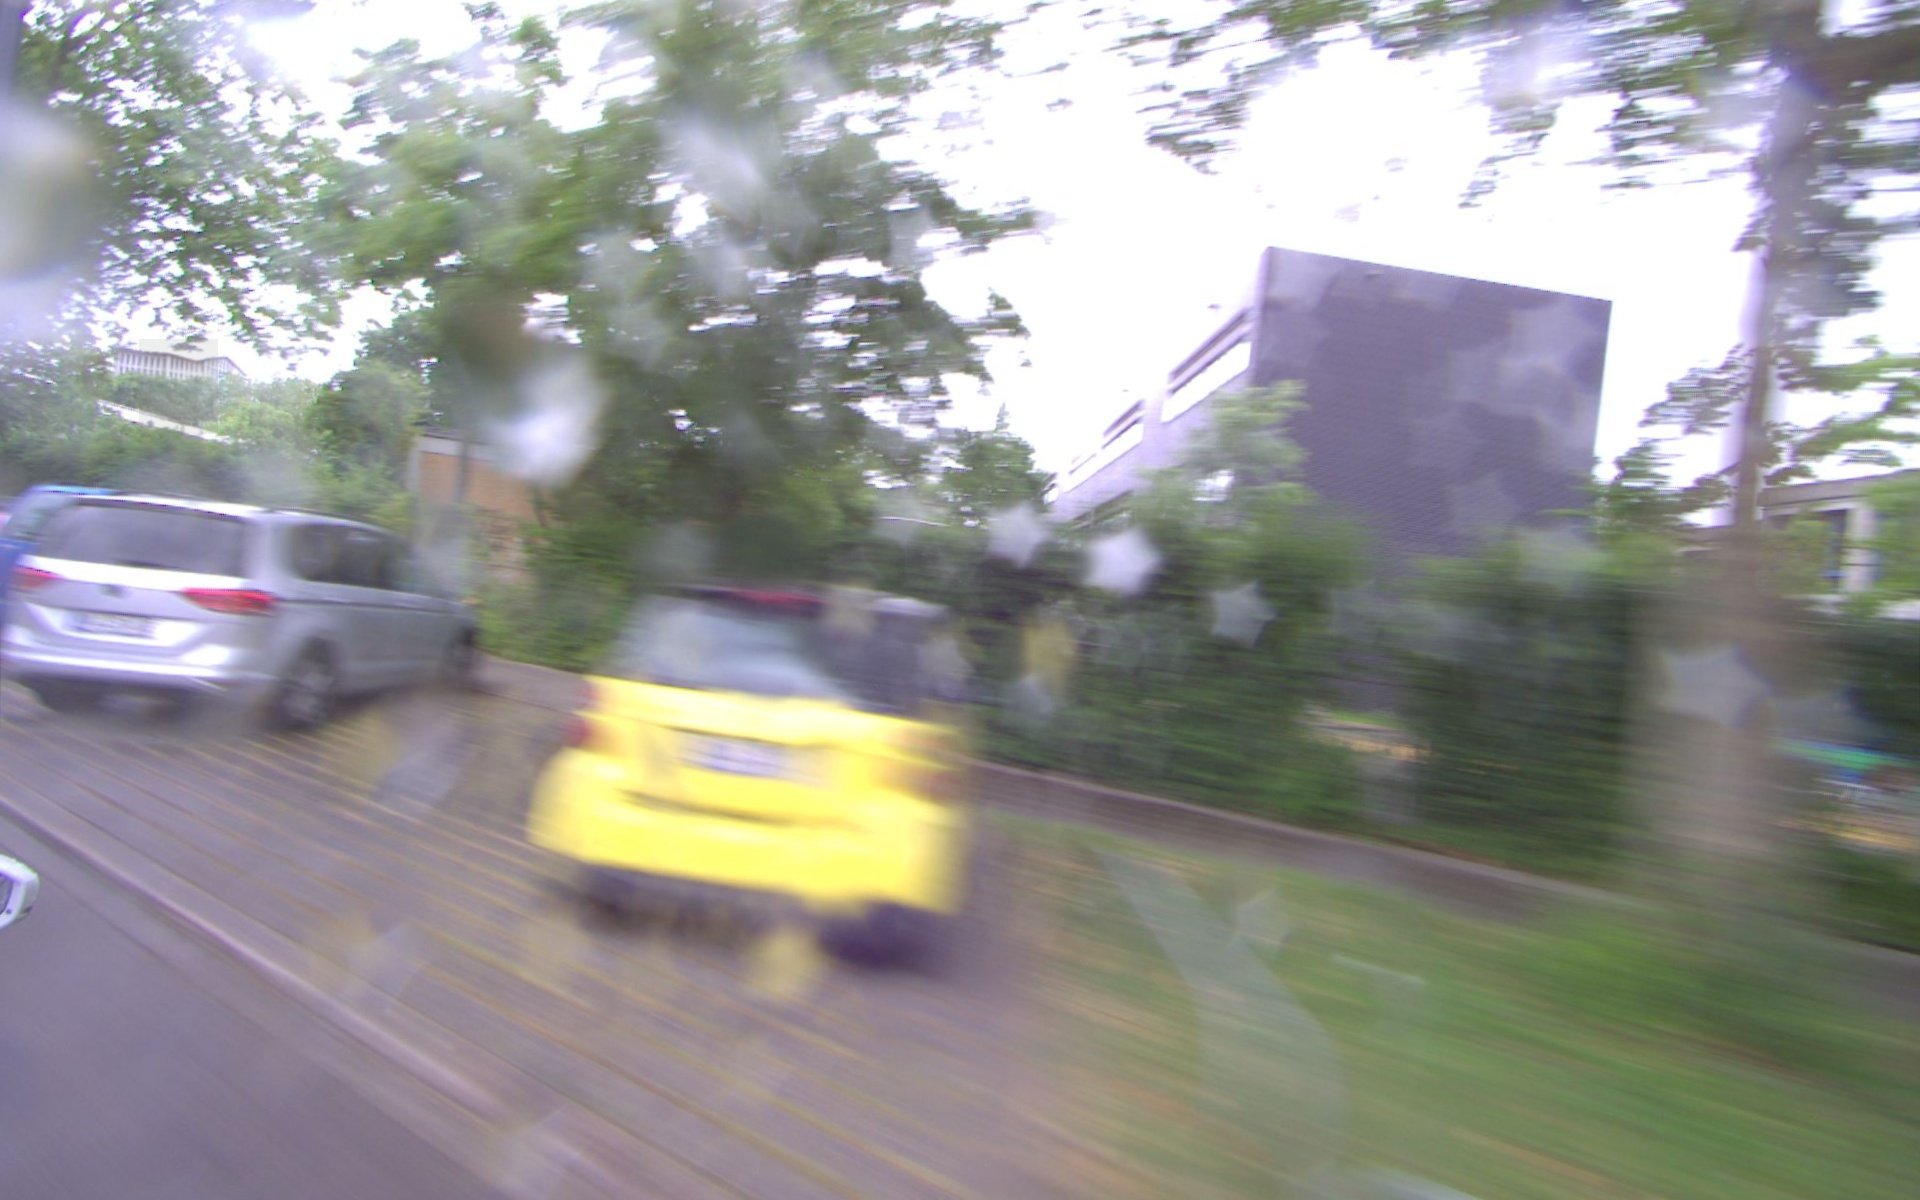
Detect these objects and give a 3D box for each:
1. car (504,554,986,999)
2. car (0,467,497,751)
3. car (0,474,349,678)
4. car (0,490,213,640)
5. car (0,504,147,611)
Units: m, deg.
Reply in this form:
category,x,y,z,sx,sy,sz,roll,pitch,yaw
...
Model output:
category,x,y,z,sx,sy,sz,roll,pitch,yaw
car,-0.779,0.649,5.178,1.573,1.485,2.904,6,1,4
car,-5.609,0.057,8.564,1.625,1.661,4.043,7,0,-5
car,-8.212,-0.244,10.536,1.563,1.693,3.273,6,1,-1
car,-10.838,-0.467,11.720,1.817,1.538,3.400,6,1,-5
car,-13.492,-0.653,13.621,1.711,1.401,4.302,7,-1,-7
